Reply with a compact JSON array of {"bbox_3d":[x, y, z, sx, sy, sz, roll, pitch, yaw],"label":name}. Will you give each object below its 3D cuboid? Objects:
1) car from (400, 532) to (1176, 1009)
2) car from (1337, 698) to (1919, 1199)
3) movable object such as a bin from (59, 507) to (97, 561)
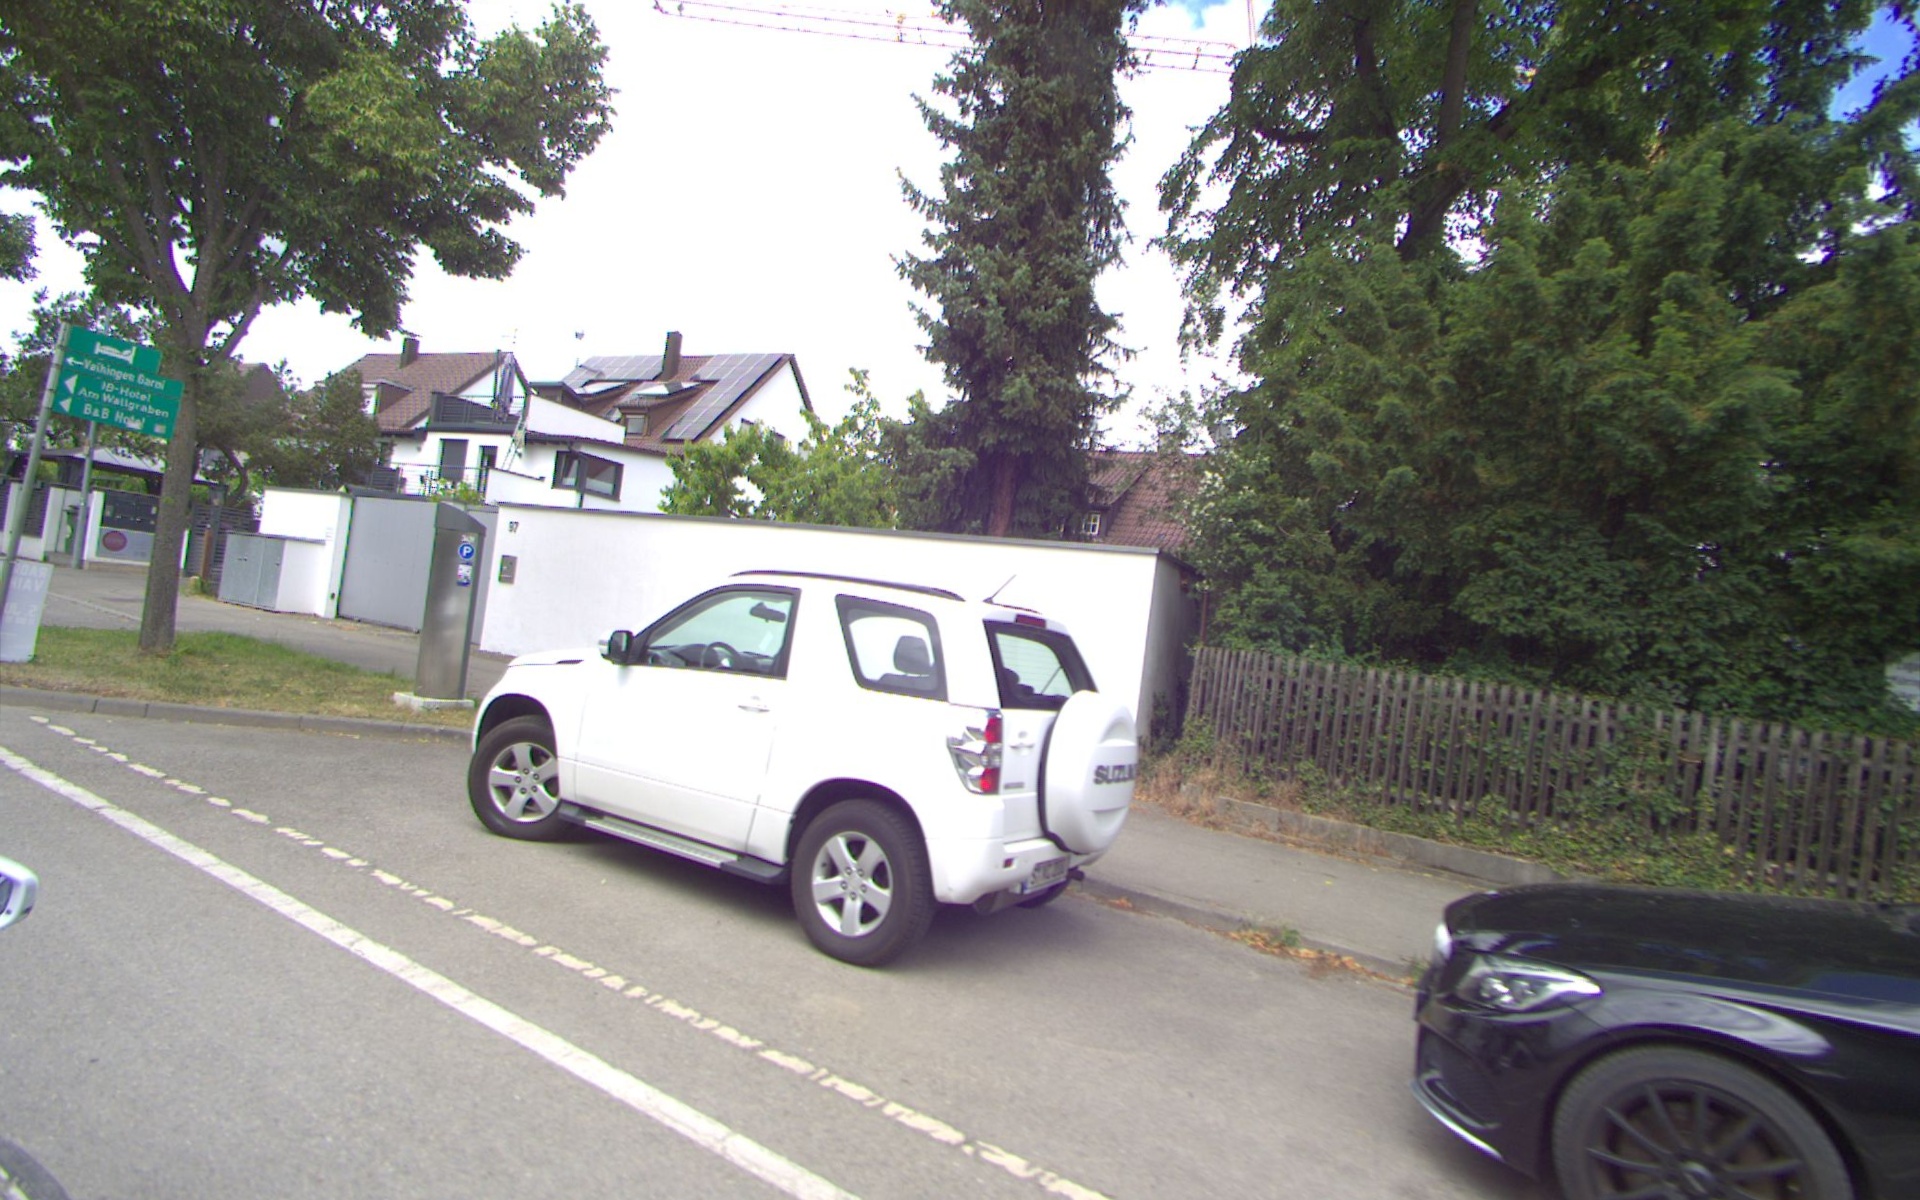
[{"bbox_3d":[-1.086,0.696,5.857,4.048,1.661,1.904,6,-2,31],"label":"car"},{"bbox_3d":[3.629,1.344,2.639,4.528,1.433,1.866,7,-2,34],"label":"car"},{"bbox_3d":[-19.810,-1.475,22.603,0.447,1.123,0.437,7,0,32],"label":"movable object such as a bin"}]
